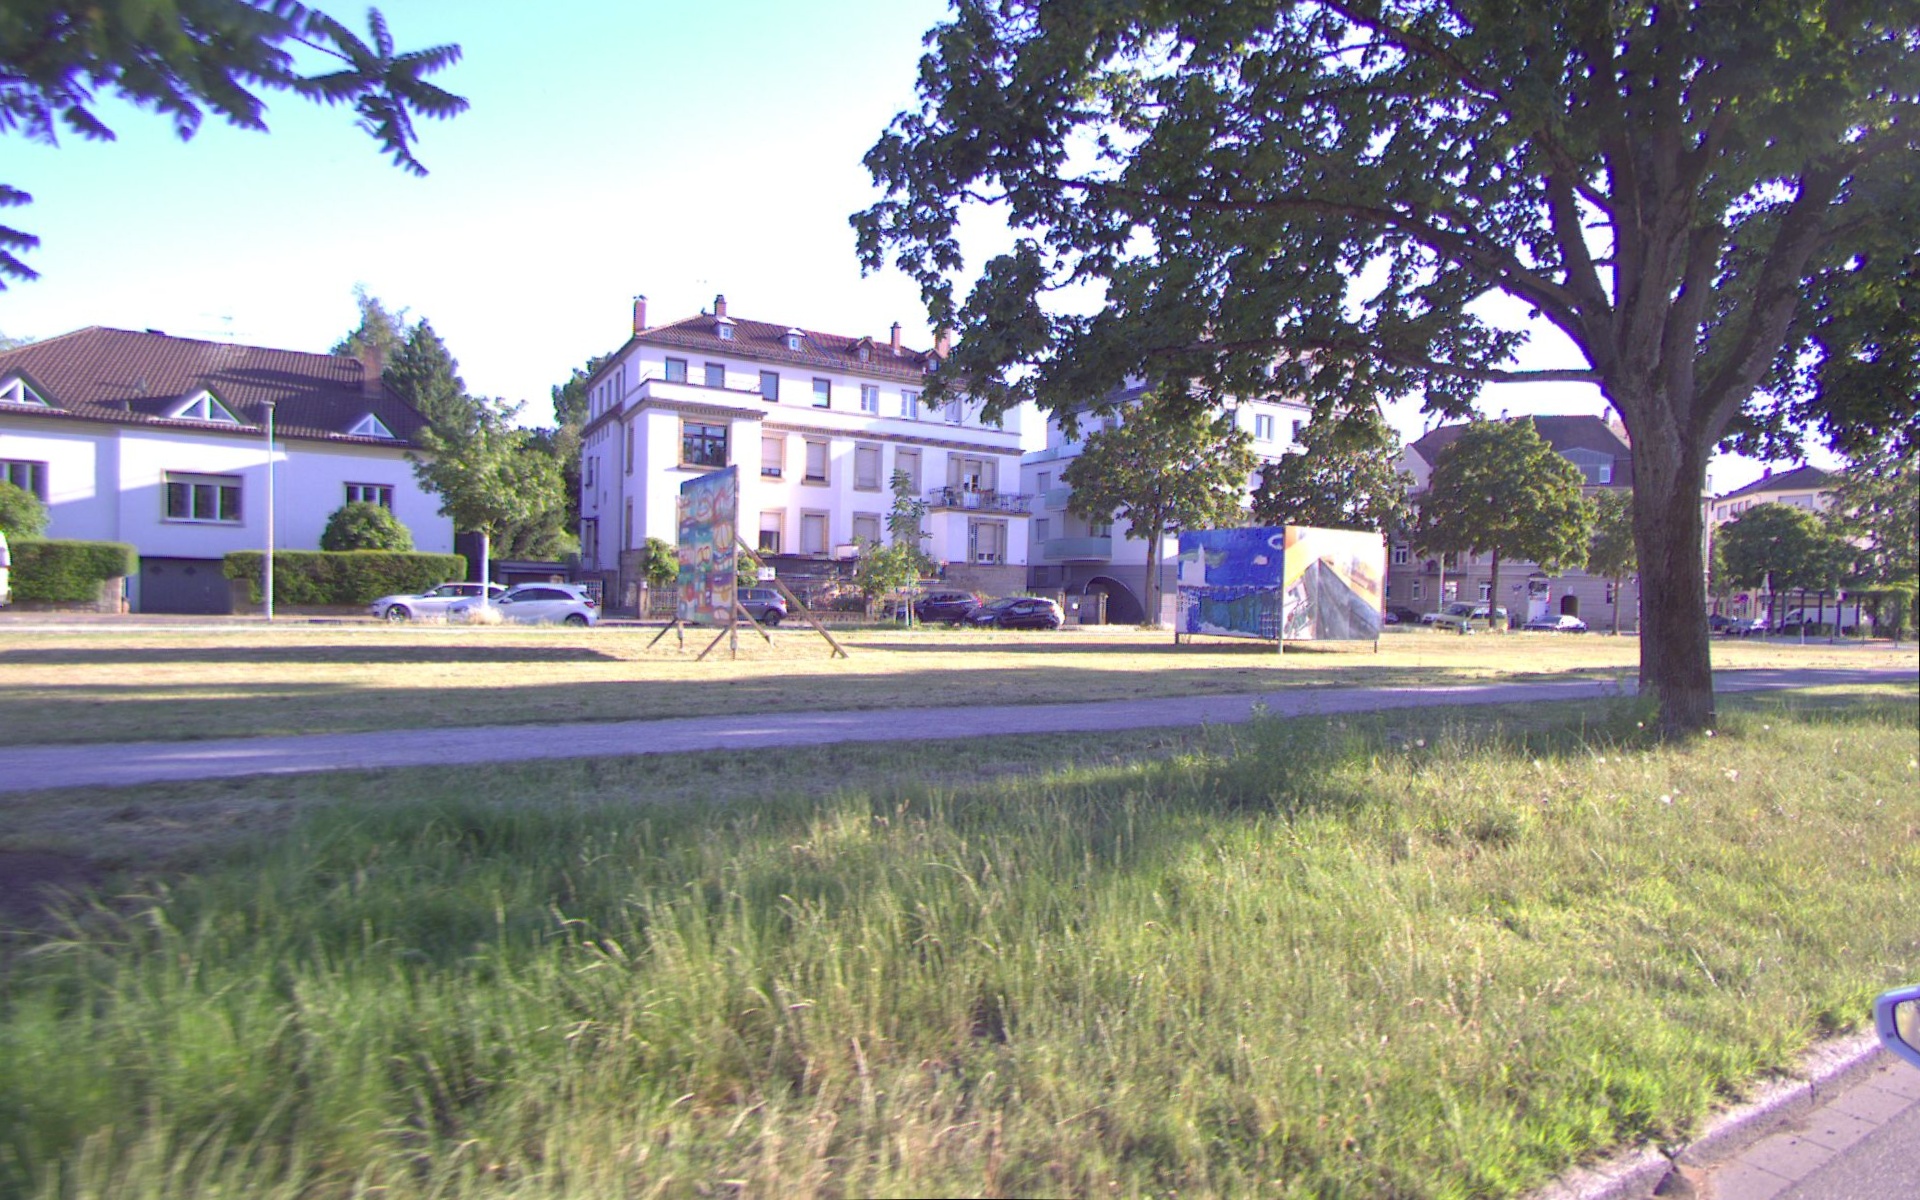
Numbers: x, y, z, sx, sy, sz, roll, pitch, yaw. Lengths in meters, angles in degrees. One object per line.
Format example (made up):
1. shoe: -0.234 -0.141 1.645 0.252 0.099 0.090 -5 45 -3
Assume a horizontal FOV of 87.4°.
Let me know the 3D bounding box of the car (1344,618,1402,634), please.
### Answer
1. car: 32.069 1.999 78.108 1.674 1.235 3.969 0 -1 -29

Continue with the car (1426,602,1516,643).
1. car: 28.039 1.283 55.084 4.992 2.084 1.985 2 -4 -30

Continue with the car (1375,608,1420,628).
1. car: 38.131 1.587 87.511 3.920 1.739 1.592 1 0 -29

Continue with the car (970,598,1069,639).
1. car: 2.807 0.908 47.256 4.406 1.766 1.814 2 -4 -29

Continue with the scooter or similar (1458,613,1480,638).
1. scooter or similar: 24.265 1.212 47.898 1.285 1.142 0.389 1 1 -38

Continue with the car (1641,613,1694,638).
1. car: 54.308 1.972 77.082 4.241 1.729 1.637 2 -4 -29

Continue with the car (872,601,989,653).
1. car: -1.306 1.259 44.902 4.795 2.158 2.229 2 -4 -29

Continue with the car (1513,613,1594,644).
1. car: 35.246 1.726 59.624 4.769 1.658 1.976 2 -4 -29

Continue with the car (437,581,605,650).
1. car: -13.438 0.539 30.820 4.586 1.923 1.826 2 -4 -29

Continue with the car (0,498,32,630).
1. car: -30.147 -1.072 27.320 6.685 3.605 2.293 2 -4 -30

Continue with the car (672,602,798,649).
1. car: -8.934 1.042 39.993 4.612 1.724 1.774 2 -4 -30

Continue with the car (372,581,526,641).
1. car: -17.707 0.445 34.905 4.659 1.878 1.722 2 -4 -31

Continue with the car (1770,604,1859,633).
1. car: 81.858 1.736 96.380 6.203 2.756 1.999 0 0 30

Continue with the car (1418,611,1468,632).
1. car: 40.007 1.811 83.243 4.027 1.658 1.690 2 -4 -29

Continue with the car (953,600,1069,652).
1. car: 2.028 1.082 39.935 4.277 1.941 1.881 2 -4 -30
